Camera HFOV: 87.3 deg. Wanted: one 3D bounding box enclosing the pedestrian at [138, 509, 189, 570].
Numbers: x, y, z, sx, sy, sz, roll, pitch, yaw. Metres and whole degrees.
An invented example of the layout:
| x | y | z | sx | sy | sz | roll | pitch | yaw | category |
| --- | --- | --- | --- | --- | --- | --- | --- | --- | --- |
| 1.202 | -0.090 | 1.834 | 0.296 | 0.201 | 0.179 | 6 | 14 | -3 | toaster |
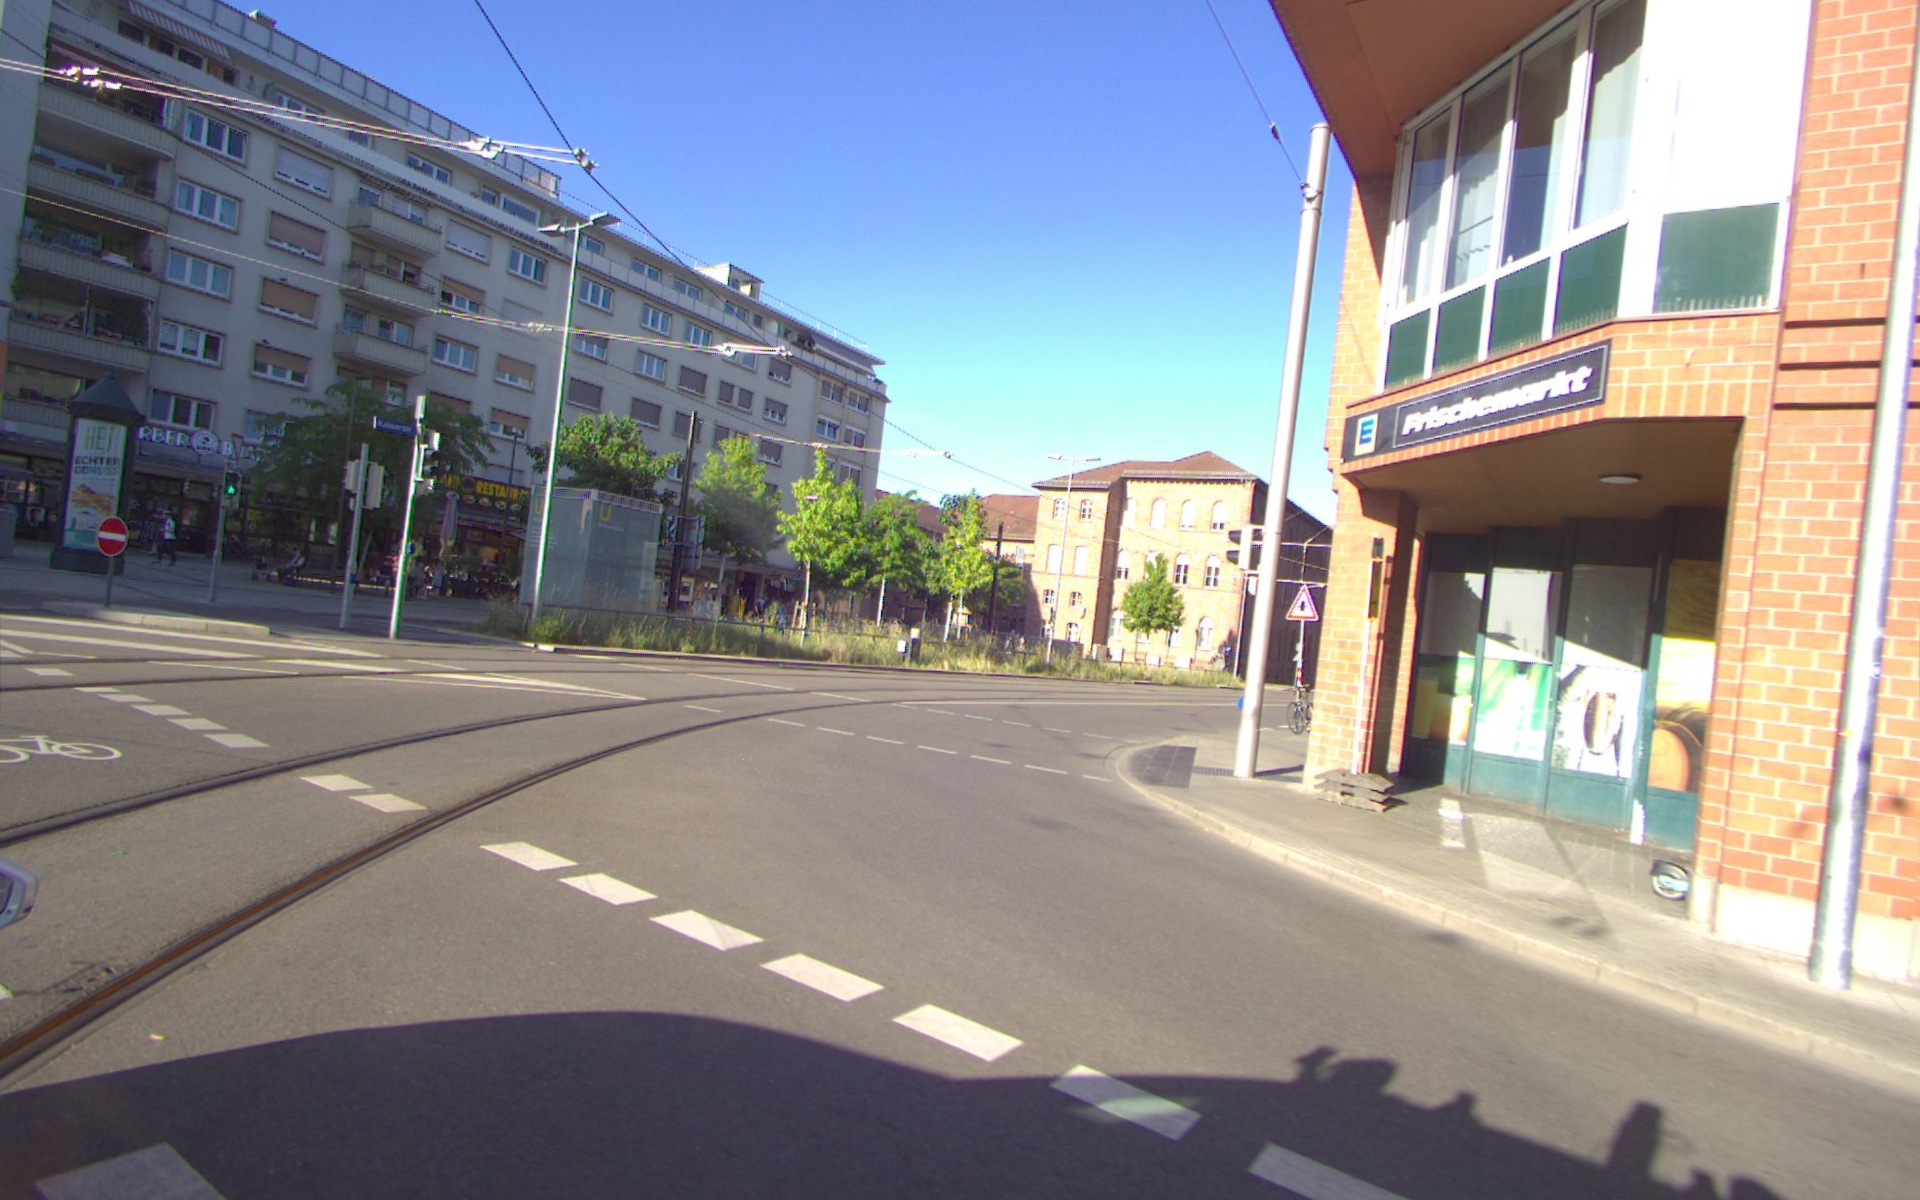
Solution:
| x | y | z | sx | sy | sz | roll | pitch | yaw | category |
| --- | --- | --- | --- | --- | --- | --- | --- | --- | --- |
| -26.598 | -2.020 | 33.601 | 0.677 | 1.888 | 1.042 | 6 | -1 | 35 | pedestrian |

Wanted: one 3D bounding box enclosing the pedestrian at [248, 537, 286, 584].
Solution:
| x | y | z | sx | sy | sz | roll | pitch | yaw | category |
| --- | --- | --- | --- | --- | --- | --- | --- | --- | --- |
| -23.248 | -1.317 | 33.750 | 0.711 | 1.463 | 0.925 | 7 | -1 | -22 | pedestrian |

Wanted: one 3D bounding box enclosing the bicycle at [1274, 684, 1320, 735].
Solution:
| x | y | z | sx | sy | sz | roll | pitch | yaw | category |
| --- | --- | --- | --- | --- | --- | --- | --- | --- | --- |
| 7.250 | 2.354 | 21.581 | 0.452 | 1.002 | 1.863 | 3 | -4 | 32 | bicycle |

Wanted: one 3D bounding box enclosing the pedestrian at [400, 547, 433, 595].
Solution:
| x | y | z | sx | sy | sz | roll | pitch | yaw | category |
| --- | --- | --- | --- | --- | --- | --- | --- | --- | --- |
| -21.431 | -1.127 | 39.658 | 0.704 | 1.766 | 0.683 | 6 | -1 | 23 | pedestrian |

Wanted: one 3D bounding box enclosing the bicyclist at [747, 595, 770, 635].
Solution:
| x | y | z | sx | sy | sz | roll | pitch | yaw | category |
| --- | --- | --- | --- | --- | --- | --- | --- | --- | --- |
| -10.759 | 0.805 | 53.729 | 0.884 | 1.972 | 0.786 | 7 | -1 | -6 | bicyclist |

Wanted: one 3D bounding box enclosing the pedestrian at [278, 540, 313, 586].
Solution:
| x | y | z | sx | sy | sz | roll | pitch | yaw | category |
| --- | --- | --- | --- | --- | --- | --- | --- | --- | --- |
| -22.270 | -1.235 | 33.723 | 0.712 | 1.437 | 0.924 | 7 | -1 | -25 | pedestrian |

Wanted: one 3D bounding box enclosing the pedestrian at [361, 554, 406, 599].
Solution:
| x | y | z | sx | sy | sz | roll | pitch | yaw | category |
| --- | --- | --- | --- | --- | --- | --- | --- | --- | --- |
| -19.860 | -0.816 | 34.653 | 1.089 | 1.381 | 0.721 | 7 | -1 | 25 | pedestrian |

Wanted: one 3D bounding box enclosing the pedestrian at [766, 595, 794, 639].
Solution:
| x | y | z | sx | sy | sz | roll | pitch | yaw | category |
| --- | --- | --- | --- | --- | --- | --- | --- | --- | --- |
| -7.378 | 0.694 | 41.162 | 0.624 | 1.691 | 0.754 | 6 | -1 | 28 | pedestrian |

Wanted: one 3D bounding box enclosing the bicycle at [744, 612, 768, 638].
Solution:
| x | y | z | sx | sy | sz | roll | pitch | yaw | category |
| --- | --- | --- | --- | --- | --- | --- | --- | --- | --- |
| -10.867 | 1.312 | 53.700 | 0.884 | 1.267 | 2.213 | 7 | -2 | -6 | bicycle |

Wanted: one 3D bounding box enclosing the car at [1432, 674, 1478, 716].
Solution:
| x | y | z | sx | sy | sz | roll | pitch | yaw | category |
| --- | --- | --- | --- | --- | --- | --- | --- | --- | --- |
| 28.898 | 5.538 | 58.647 | 1.784 | 2.207 | 3.919 | 4 | -2 | 34 | car |
